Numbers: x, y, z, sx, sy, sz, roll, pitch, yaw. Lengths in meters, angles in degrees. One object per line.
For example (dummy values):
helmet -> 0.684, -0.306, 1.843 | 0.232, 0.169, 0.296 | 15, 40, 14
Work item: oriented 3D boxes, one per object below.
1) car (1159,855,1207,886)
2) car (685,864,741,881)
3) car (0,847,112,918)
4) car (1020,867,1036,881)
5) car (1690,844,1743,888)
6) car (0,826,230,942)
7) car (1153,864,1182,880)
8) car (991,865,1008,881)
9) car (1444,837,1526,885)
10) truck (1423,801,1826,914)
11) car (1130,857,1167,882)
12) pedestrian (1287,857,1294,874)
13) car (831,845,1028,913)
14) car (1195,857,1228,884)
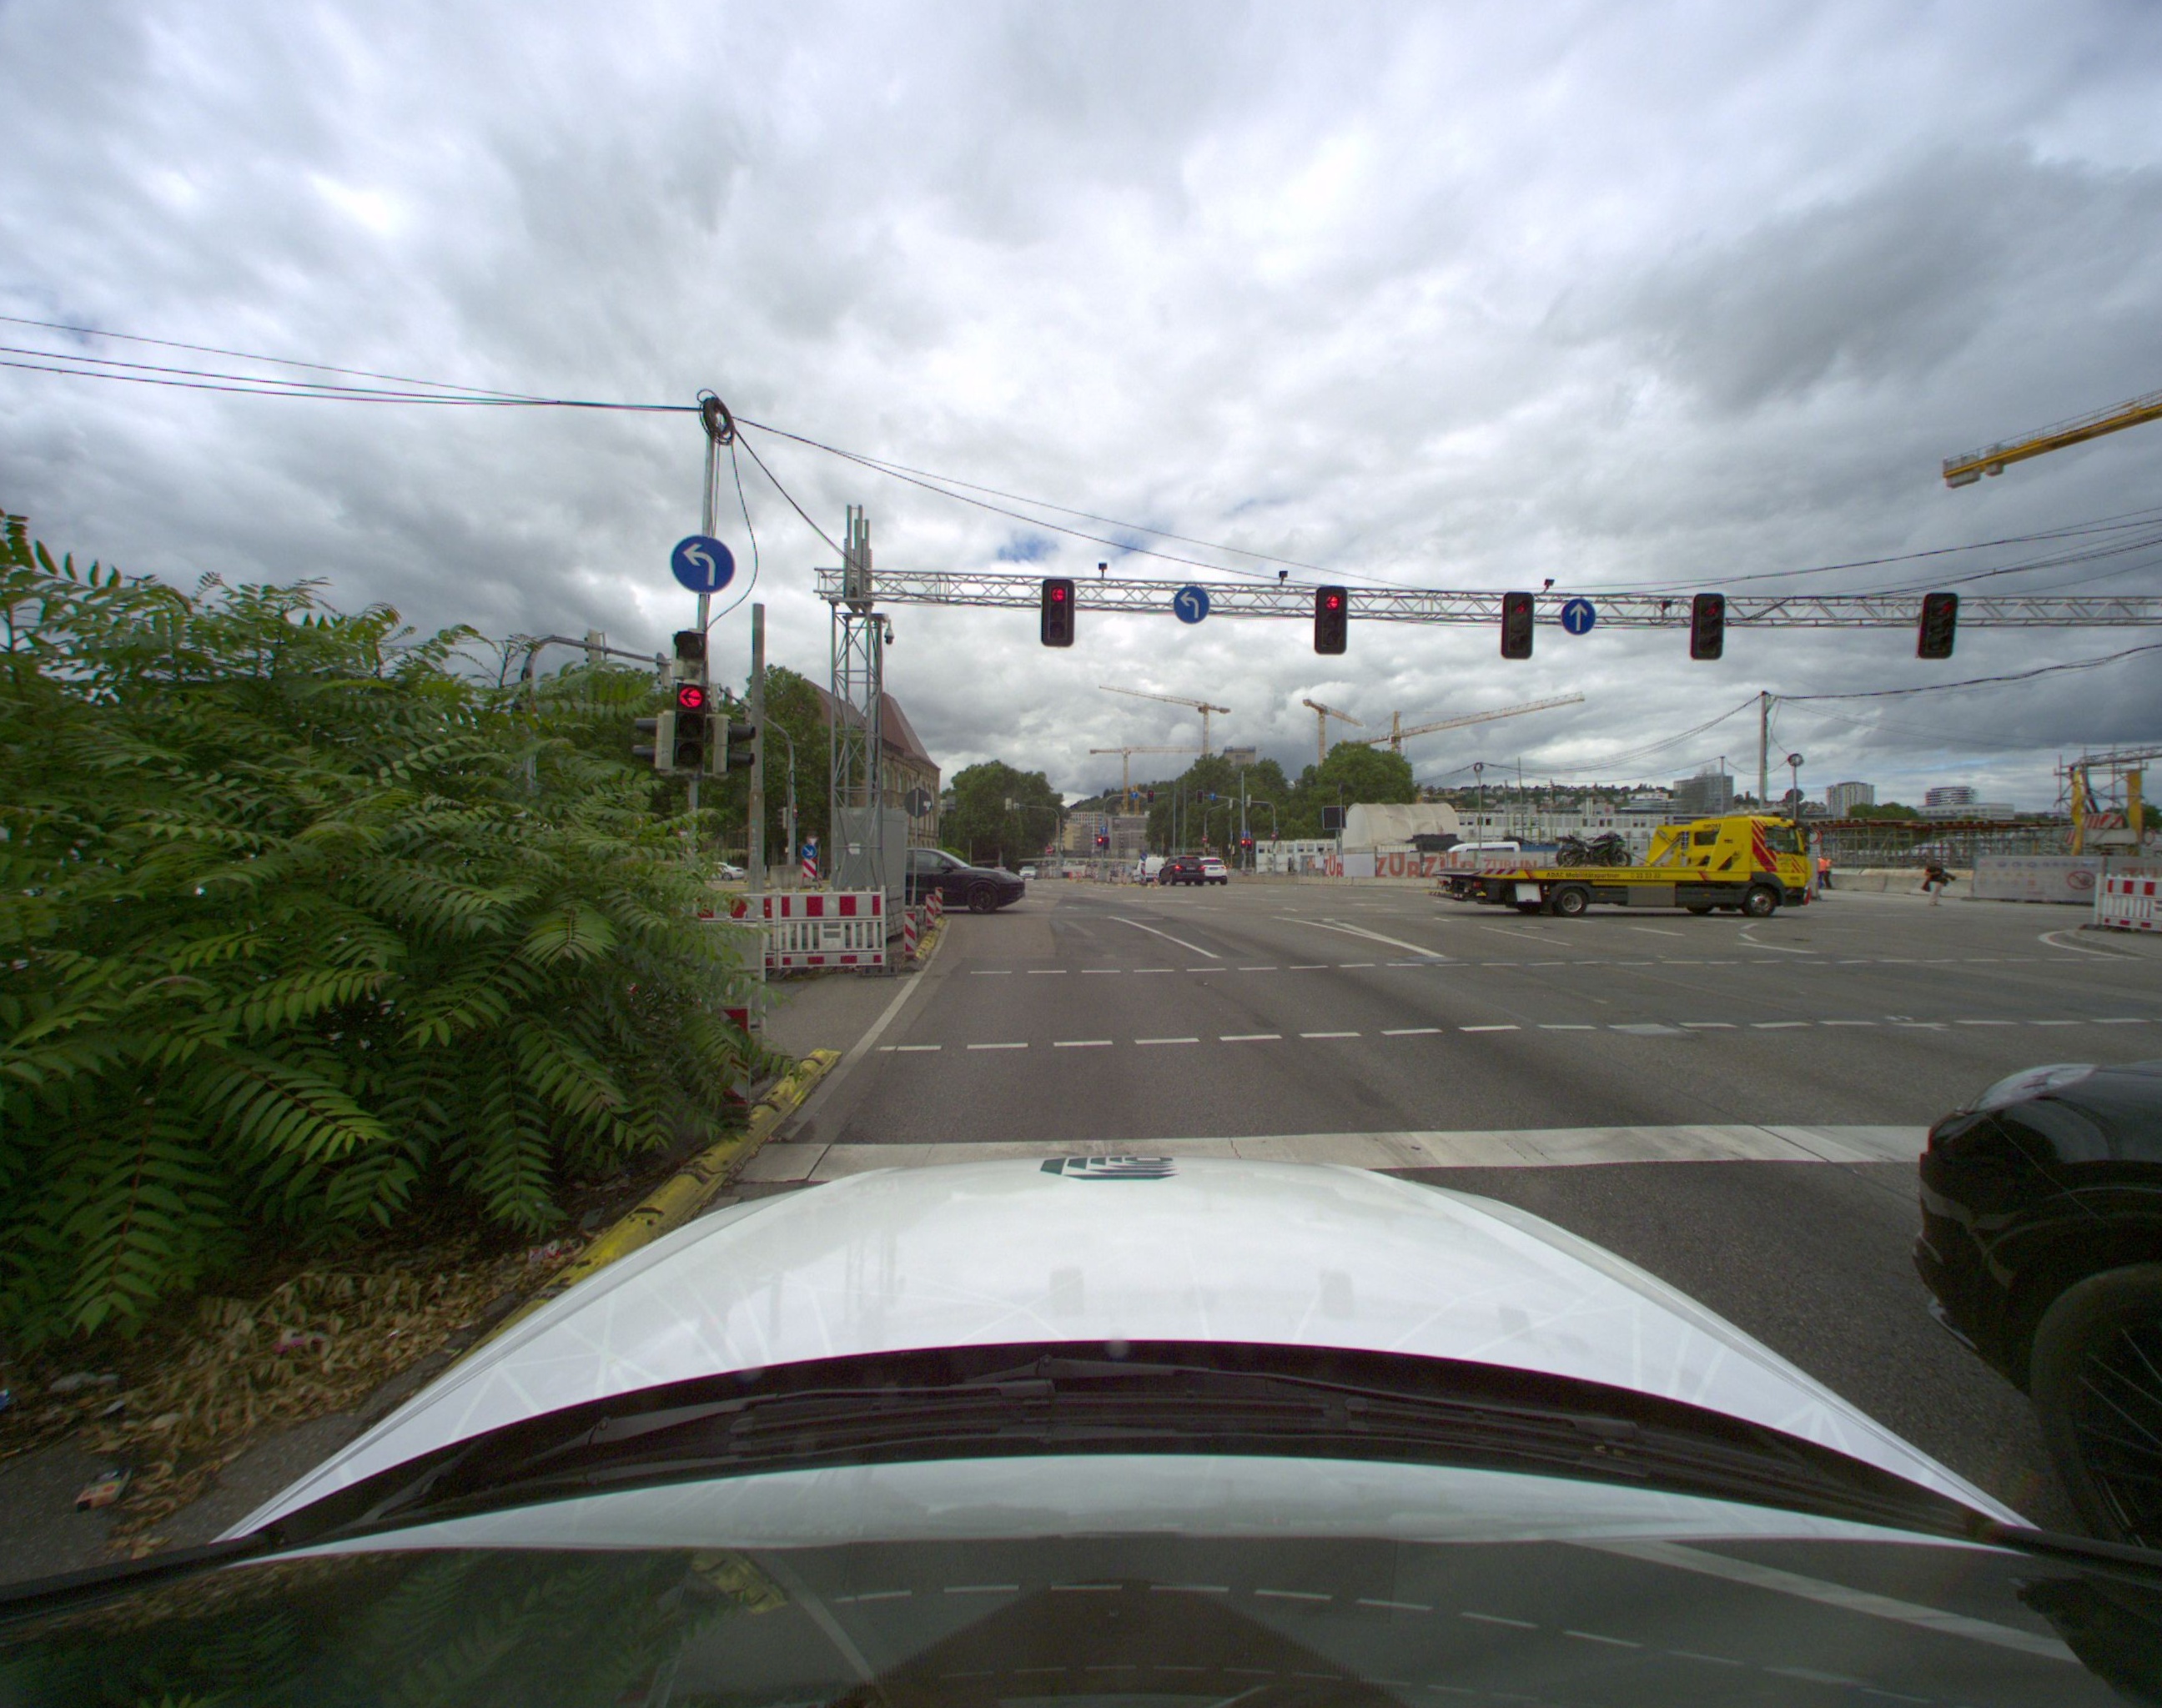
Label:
car -> 6.000, 0.939, 48.301 | 1.830, 1.746, 4.244 | 0, -1, -8
car -> -27.490, 1.375, 60.942 | 3.614, 1.254, 1.672 | 0, -1, -16
car -> -27.170, 0.703, 21.262 | 4.213, 1.691, 1.888 | -1, -1, 33
car -> -5.584, 2.077, 85.318 | 1.673, 1.398, 3.677 | 0, -1, -4
car -> 30.131, 0.557, 38.699 | 1.755, 1.954, 3.146 | -1, -1, 34
car -> -16.512, 0.461, 13.730 | 4.214, 1.691, 1.887 | -1, -1, 28
car -> 8.019, 1.686, 75.958 | 1.680, 1.398, 3.069 | 0, -1, -16
car -> -8.480, 2.006, 85.091 | 1.673, 1.580, 3.677 | 0, -1, -4
car -> 23.229, 0.421, 46.973 | 3.957, 2.662, 1.688 | -1, -1, 15
truck -> 14.064, 0.088, 21.548 | 8.952, 2.803, 2.626 | 0, 0, 0
car -> 4.566, 1.020, 55.577 | 1.814, 1.625, 3.992 | 0, -1, -5
pedestrian -> 21.550, 1.183, 83.598 | 0.528, 1.748, 0.465 | 0, 0, -22
car -> -3.800, 0.620, 21.123 | 4.800, 1.625, 2.017 | 0, -1, -6
car -> 8.478, 1.057, 52.999 | 1.670, 1.702, 3.375 | 0, -1, 2
